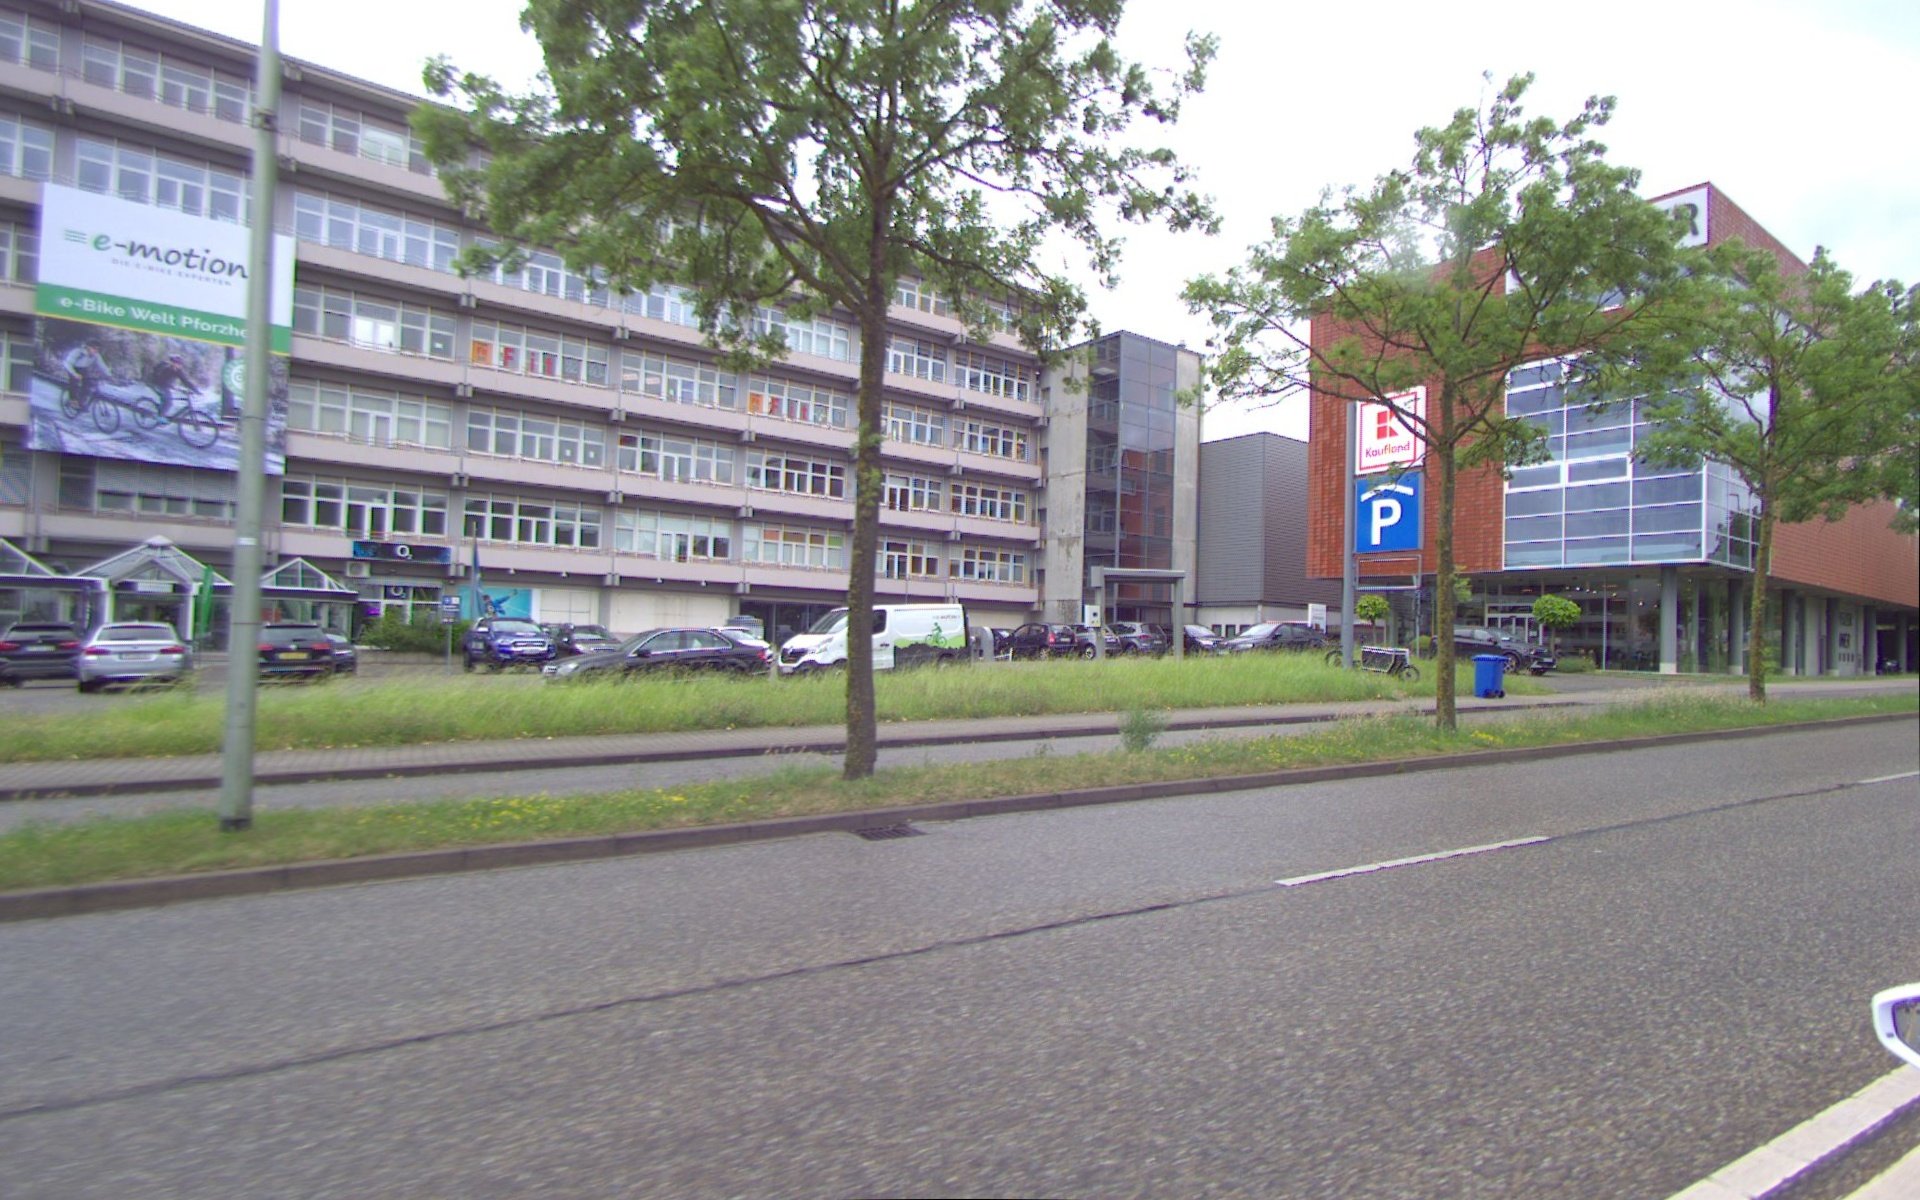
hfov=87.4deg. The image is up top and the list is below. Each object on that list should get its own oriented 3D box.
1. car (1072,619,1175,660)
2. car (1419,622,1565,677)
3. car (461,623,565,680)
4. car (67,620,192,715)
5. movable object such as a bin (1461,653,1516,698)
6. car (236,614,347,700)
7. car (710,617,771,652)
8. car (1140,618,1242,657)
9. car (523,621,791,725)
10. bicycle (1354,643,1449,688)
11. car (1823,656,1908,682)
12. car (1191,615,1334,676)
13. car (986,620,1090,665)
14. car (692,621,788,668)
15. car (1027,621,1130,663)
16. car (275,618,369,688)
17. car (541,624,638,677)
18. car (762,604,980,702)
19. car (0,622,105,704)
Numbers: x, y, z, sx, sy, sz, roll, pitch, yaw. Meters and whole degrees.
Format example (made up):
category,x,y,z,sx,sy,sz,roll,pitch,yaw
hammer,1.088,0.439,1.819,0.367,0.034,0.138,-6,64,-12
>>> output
category,x,y,z,sx,sy,sz,roll,pitch,yaw
car,6.777,1.610,42.031,1.803,1.530,4.158,0,0,-38
car,18.988,1.741,35.999,1.783,1.705,4.239,2,0,-36
car,-14.272,1.569,31.925,2.007,1.530,4.574,0,0,-38
car,-18.372,1.384,22.376,1.949,1.769,4.563,0,0,-38
movable object such as a bin,13.578,1.922,25.814,1.073,1.093,0.815,1,0,-30
car,-16.117,1.269,24.108,1.883,1.769,4.464,0,0,-38
car,-11.937,1.836,54.593,1.783,1.755,3.958,0,0,-37
car,10.176,1.609,44.487,1.884,1.530,4.158,0,0,-38
car,-6.119,1.381,20.523,4.894,1.785,2.027,0,0,-34
bicycle,11.777,1.744,26.855,1.079,0.948,2.069,2,3,-26
car,54.721,4.170,60.750,1.501,1.301,3.523,2,0,-27
car,10.057,1.439,33.327,4.558,1.797,2.125,0,0,-33
car,2.993,1.619,39.382,1.803,1.530,4.077,0,0,-38
car,-8.194,1.601,37.211,1.831,1.530,4.242,0,0,-38
car,4.752,1.664,40.737,1.803,1.530,4.077,0,0,-38
car,-18.544,1.448,29.124,1.883,1.769,4.464,0,0,-38
car,-12.520,1.636,33.802,1.929,1.530,4.145,0,0,-38
car,-2.101,1.181,24.685,5.079,2.124,2.096,0,0,-40
car,-23.095,1.503,25.441,2.117,1.769,4.558,0,0,-41
